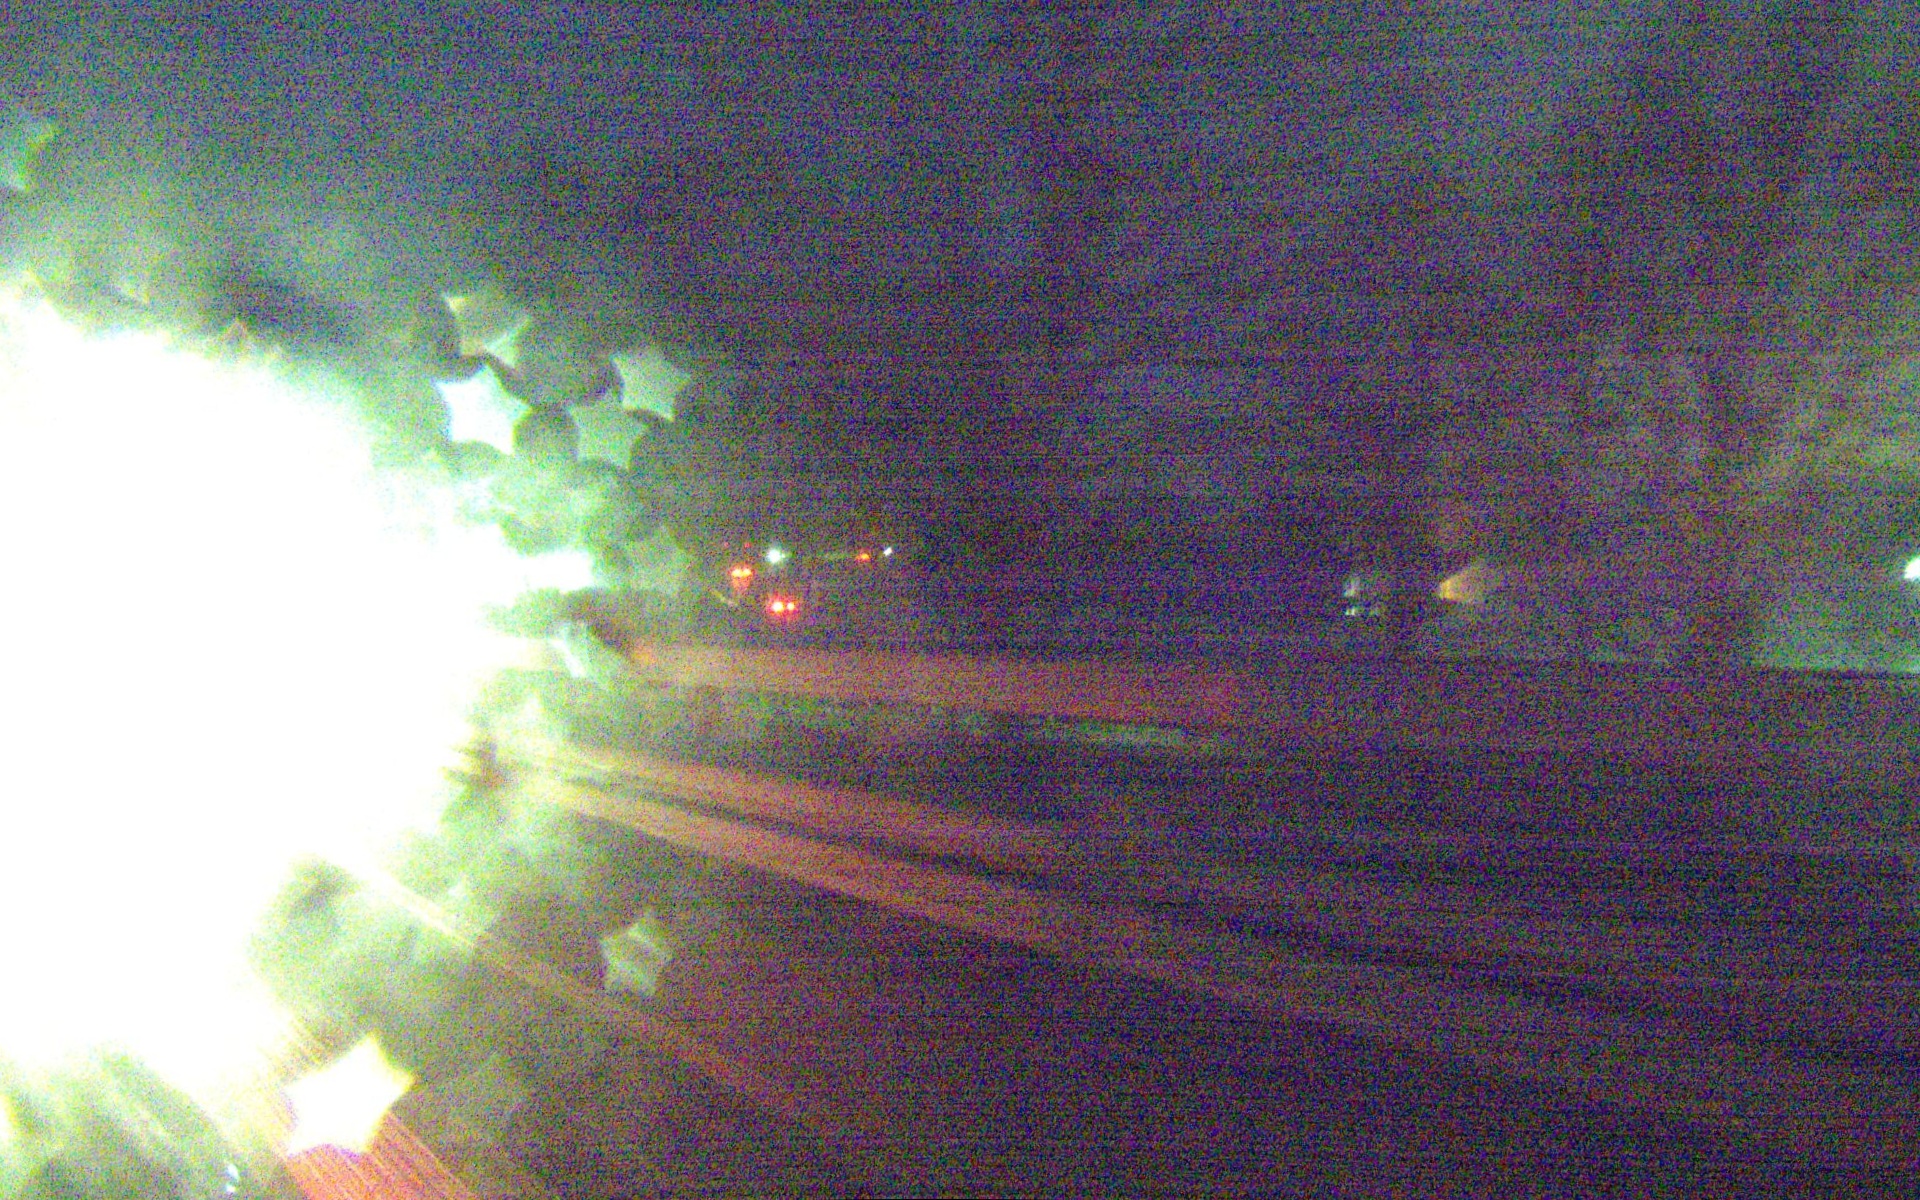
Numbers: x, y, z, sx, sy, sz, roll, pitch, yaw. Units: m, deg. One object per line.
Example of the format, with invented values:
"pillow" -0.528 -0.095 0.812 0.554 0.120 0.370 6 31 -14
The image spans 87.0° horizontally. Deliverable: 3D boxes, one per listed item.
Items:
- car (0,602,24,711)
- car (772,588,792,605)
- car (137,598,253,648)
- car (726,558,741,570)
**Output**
"car" -13.549 0.779 13.003 1.660 1.461 3.652 1 0 -34
"car" -16.431 -0.332 93.359 1.480 1.438 3.441 1 2 -14
"car" -22.503 0.633 29.952 1.731 1.321 4.099 1 0 -22
"car" -31.478 -5.005 140.652 1.716 1.435 4.114 -1 6 -17
